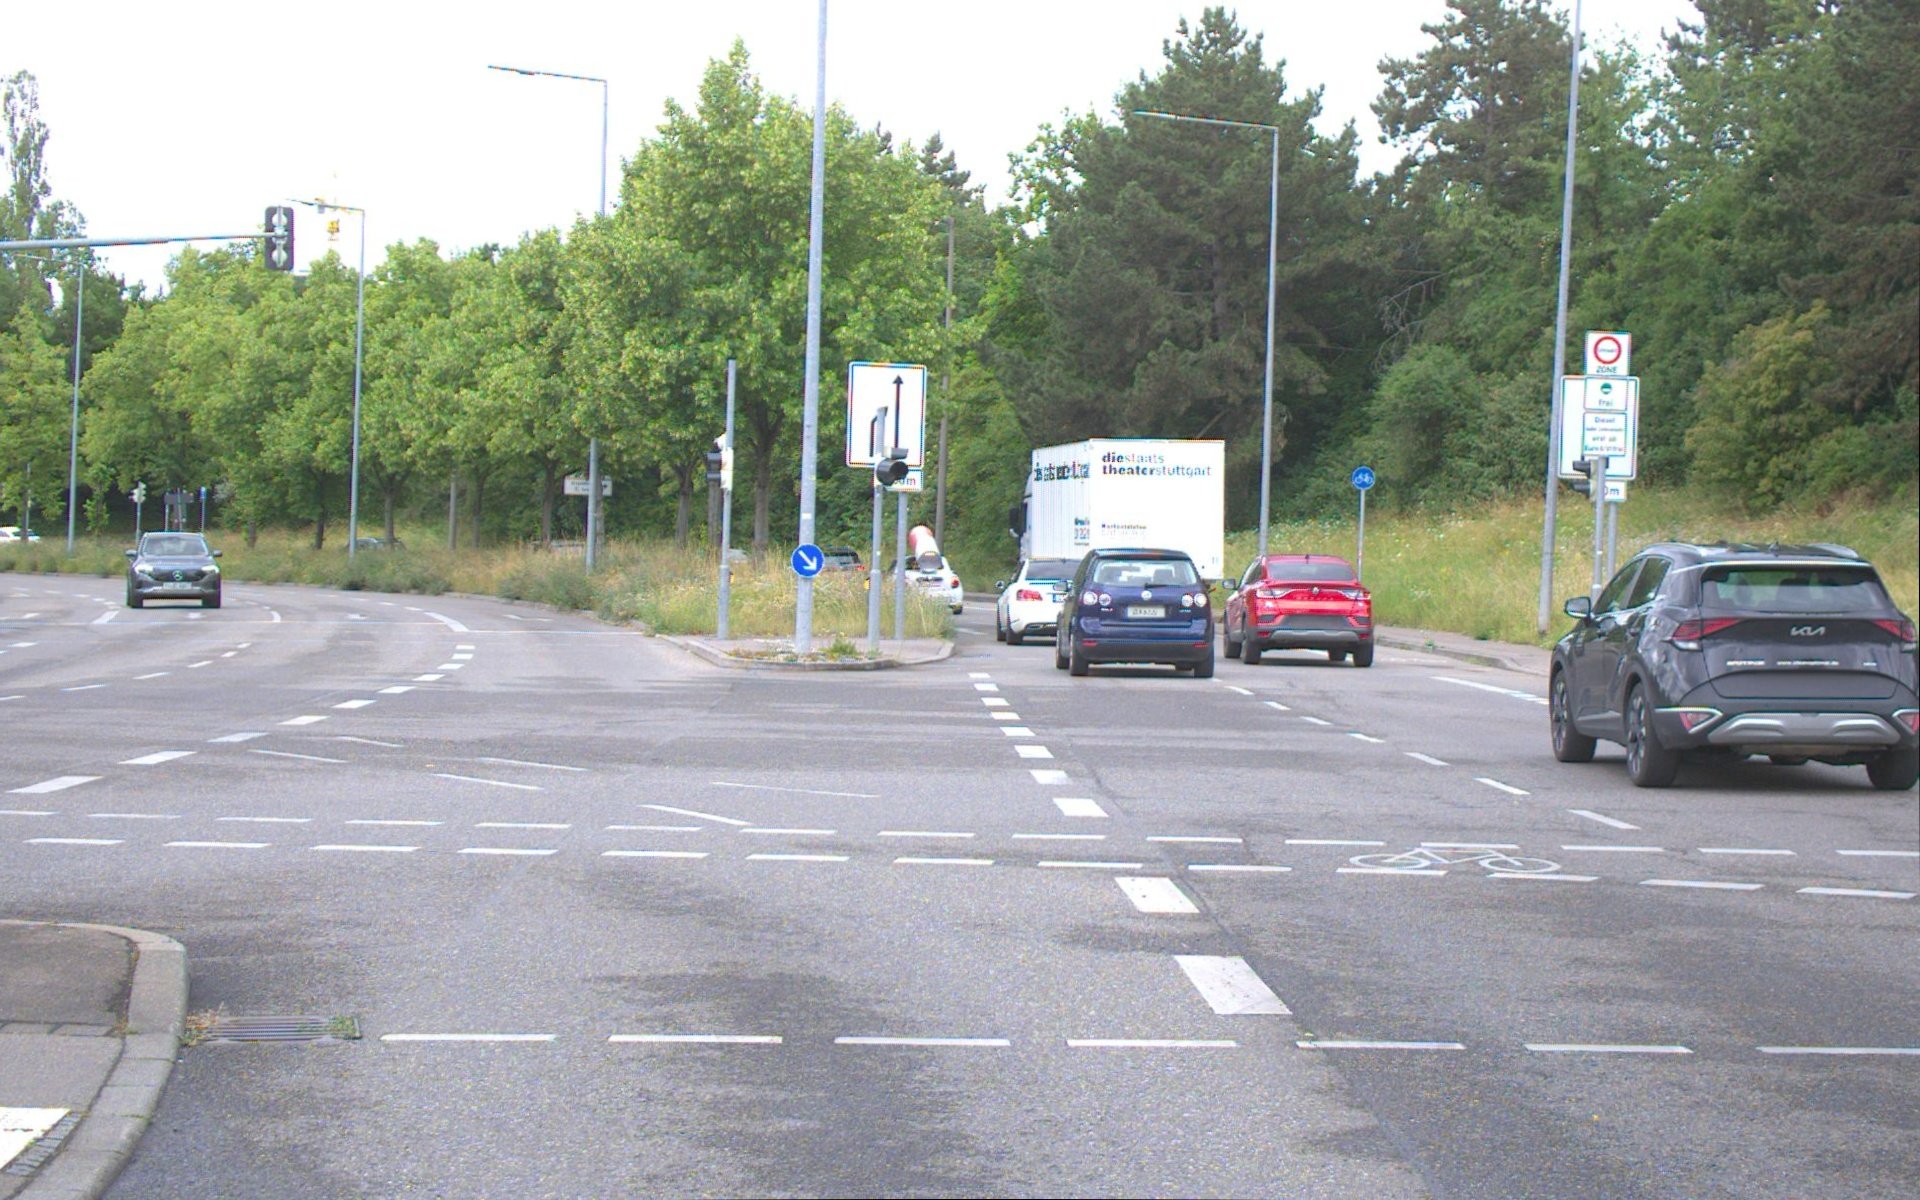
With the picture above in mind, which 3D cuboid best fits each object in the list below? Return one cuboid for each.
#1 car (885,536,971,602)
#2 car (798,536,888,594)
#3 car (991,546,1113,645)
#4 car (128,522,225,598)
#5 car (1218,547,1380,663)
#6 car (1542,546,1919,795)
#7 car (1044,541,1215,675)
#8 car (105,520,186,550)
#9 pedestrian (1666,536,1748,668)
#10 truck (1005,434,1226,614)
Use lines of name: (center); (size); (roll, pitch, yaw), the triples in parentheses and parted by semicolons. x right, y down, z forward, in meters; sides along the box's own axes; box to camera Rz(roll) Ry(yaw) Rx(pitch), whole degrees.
car: (-0.799, -0.777, 83.997); (1.777, 1.541, 4.026); (1, 1, -5)
car: (-3.272, -0.979, 95.313); (1.777, 1.541, 4.026); (0, 1, -12)
car: (1.490, -0.107, 57.260); (1.778, 1.541, 4.025); (1, 1, -2)
car: (-16.544, -0.869, 72.755); (1.777, 1.541, 4.226); (1, 1, -10)
car: (4.792, 0.040, 49.069); (1.778, 1.541, 4.025); (1, 1, -2)
car: (5.338, 0.417, 23.873); (1.778, 1.541, 4.025); (1, 1, -2)
car: (2.054, 0.064, 42.660); (1.778, 1.541, 4.025); (1, 1, -2)
car: (-41.895, -3.345, 176.874); (1.781, 1.541, 4.018); (1, 1, 30)
pedestrian: (9.327, 0.019, 42.961); (0.814, 1.622, 0.791); (1, 1, -1)
truck: (2.975, -1.545, 69.846); (2.739, 3.317, 11.409); (1, 1, -6)
